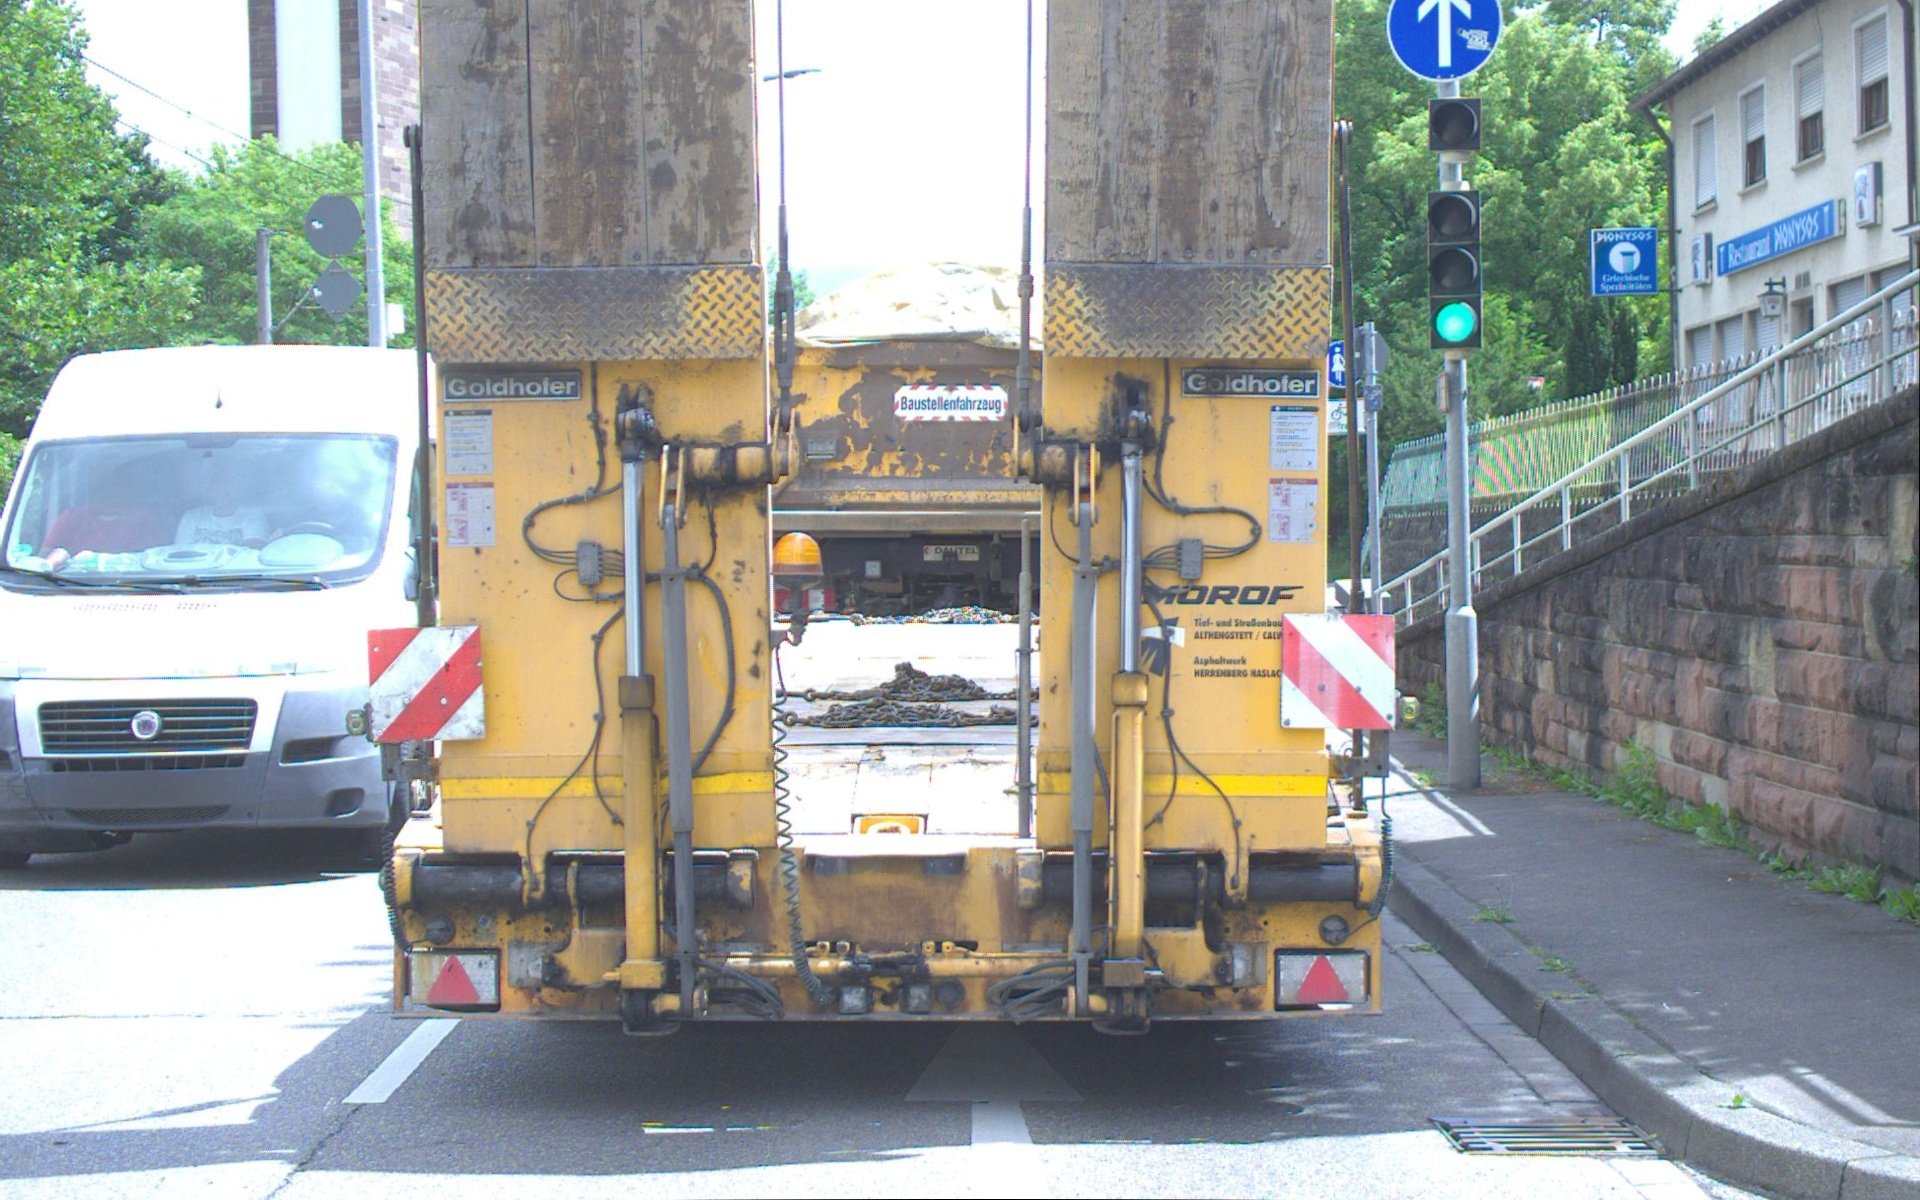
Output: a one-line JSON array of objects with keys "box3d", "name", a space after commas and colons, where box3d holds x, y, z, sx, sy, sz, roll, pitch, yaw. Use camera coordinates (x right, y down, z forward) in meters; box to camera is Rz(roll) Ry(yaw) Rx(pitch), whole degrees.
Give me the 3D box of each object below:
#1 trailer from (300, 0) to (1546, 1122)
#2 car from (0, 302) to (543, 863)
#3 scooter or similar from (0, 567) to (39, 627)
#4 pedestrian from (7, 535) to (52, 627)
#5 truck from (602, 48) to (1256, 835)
[{"box3d": [-0.119, -0.656, 12.579, 2.945, 3.589, 8.684, -1, 1, 0], "name": "trailer"}, {"box3d": [-3.431, -0.129, 17.279, 2.013, 2.351, 5.383, 1, 1, 0], "name": "car"}, {"box3d": [-15.504, -0.051, 56.632, 0.505, 0.968, 0.646, 1, 1, -2], "name": "scooter or similar"}, {"box3d": [-15.503, -0.326, 57.279, 0.563, 1.508, 0.646, 1, 1, -2], "name": "pedestrian"}, {"box3d": [-0.156, -0.777, 18.212, 2.942, 3.560, 4.877, -1, 1, 0], "name": "truck"}]
